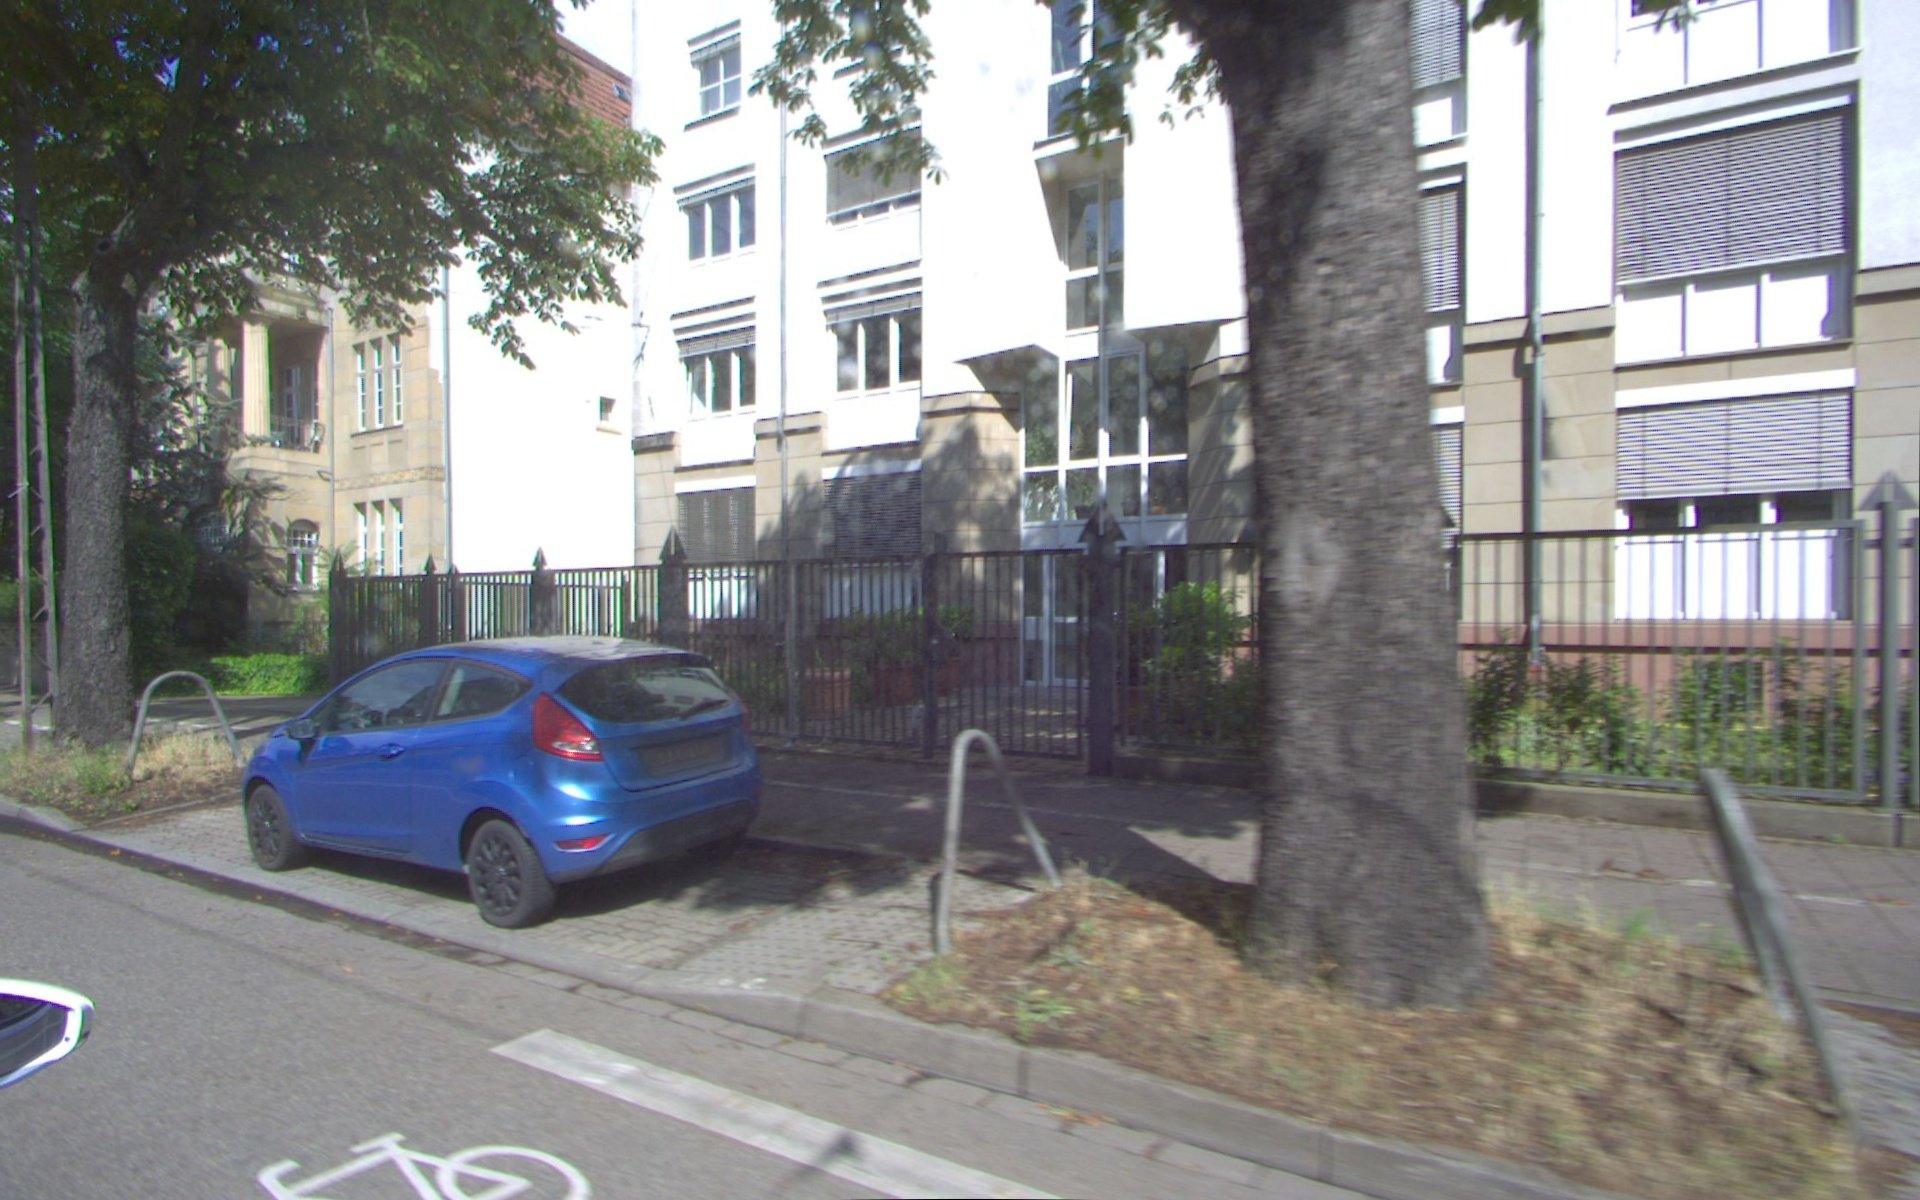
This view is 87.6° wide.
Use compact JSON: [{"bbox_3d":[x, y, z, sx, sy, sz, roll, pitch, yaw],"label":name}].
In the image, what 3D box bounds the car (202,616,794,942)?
[{"bbox_3d":[-3.074,0.891,6.494,3.791,1.516,1.620,0,1,31],"label":"car"}]
